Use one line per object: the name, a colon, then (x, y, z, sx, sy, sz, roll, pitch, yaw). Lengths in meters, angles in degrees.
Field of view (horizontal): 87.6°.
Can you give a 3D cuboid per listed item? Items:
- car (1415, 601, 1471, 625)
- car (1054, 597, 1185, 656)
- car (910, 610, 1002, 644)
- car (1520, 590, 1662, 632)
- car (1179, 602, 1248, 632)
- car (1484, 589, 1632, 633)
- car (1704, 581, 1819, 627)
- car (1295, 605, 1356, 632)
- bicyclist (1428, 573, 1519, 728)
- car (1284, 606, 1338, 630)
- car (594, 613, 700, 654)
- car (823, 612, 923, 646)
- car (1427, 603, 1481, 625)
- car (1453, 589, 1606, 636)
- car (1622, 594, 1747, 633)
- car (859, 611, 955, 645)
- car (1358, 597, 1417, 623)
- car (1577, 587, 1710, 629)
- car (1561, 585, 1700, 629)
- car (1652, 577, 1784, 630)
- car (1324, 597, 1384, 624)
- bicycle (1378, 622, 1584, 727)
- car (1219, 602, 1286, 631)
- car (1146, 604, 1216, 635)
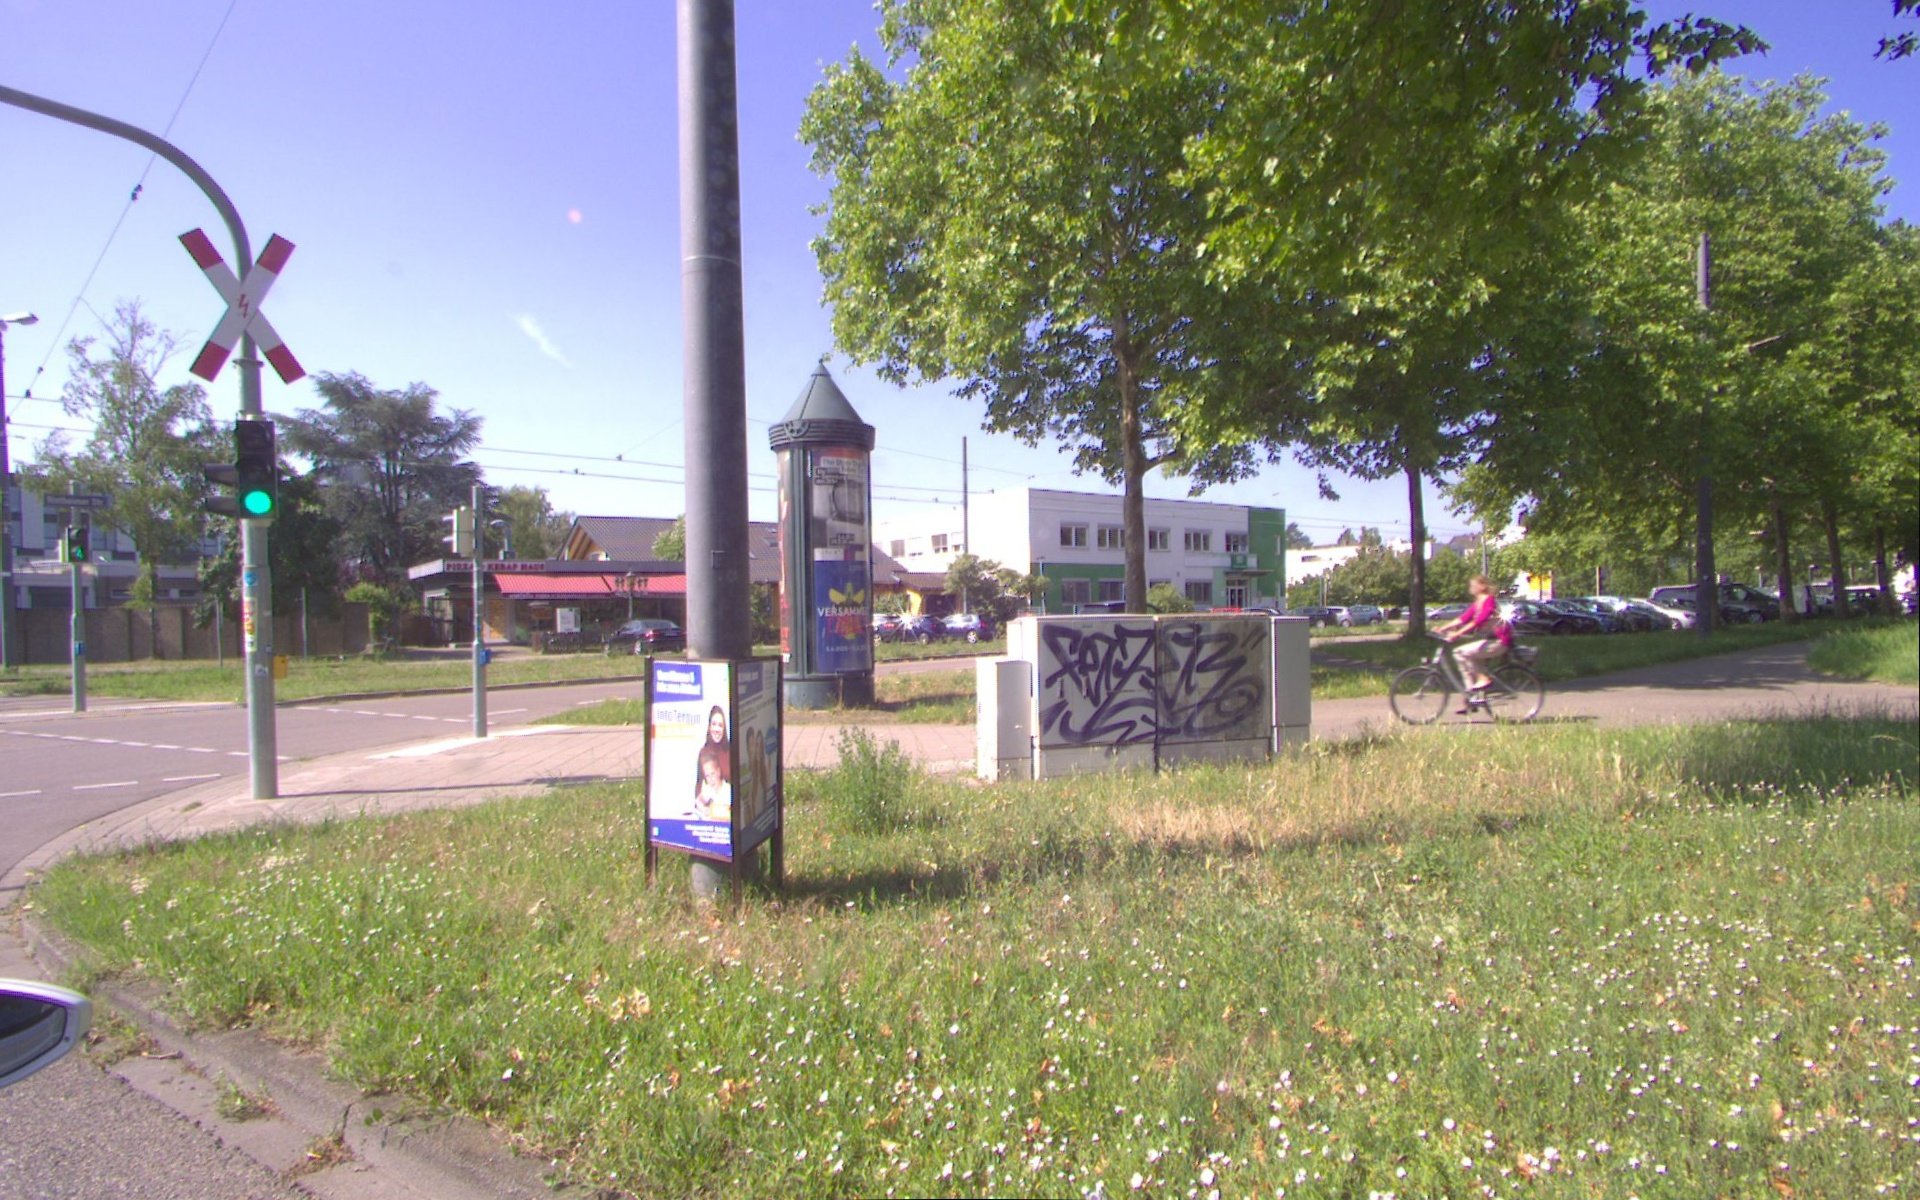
car: (38.900, 1.049, 80.772, 3.934, 1.816, 1.995, -1, -2, 24)
car: (4.851, 0.798, 30.232, 3.956, 1.676, 1.779, 1, -1, -40)
car: (-0.179, 1.348, 50.576, 4.139, 1.640, 2.136, -1, -1, 26)
car: (24.046, 0.450, 38.257, 4.309, 1.510, 1.982, -1, 0, 44)
car: (16.002, 1.090, 63.206, 3.934, 1.816, 1.995, -1, -2, 24)
car: (21.790, 0.422, 36.585, 4.309, 1.510, 1.982, -1, 0, 44)
car: (41.677, 0.237, 52.122, 4.542, 2.238, 1.982, -1, 0, 44)
car: (25.763, 1.323, 70.566, 3.933, 1.816, 1.995, -1, -2, 23)
bicyclist: (6.206, 0.601, 12.128, 0.795, 1.810, 0.702, -1, 0, 11)
car: (23.773, 1.221, 67.903, 3.383, 1.556, 1.565, -1, 0, 18)
car: (-12.762, 1.395, 40.665, 2.121, 1.518, 5.073, -1, -2, -43)
car: (-4.039, 1.351, 46.710, 4.139, 1.518, 2.136, -2, -1, 26)
car: (40.972, 1.181, 83.144, 3.934, 1.816, 1.995, -1, -2, 24)
car: (19.824, 0.458, 34.962, 4.310, 1.510, 1.982, -2, -1, 44)
car: (32.182, 0.608, 44.546, 4.309, 1.654, 1.982, -1, 0, 44)
car: (-2.567, 1.365, 48.619, 4.139, 1.518, 2.136, -2, -1, 26)
car: (31.635, 0.779, 74.157, 3.934, 1.816, 1.995, -1, -2, 24)
car: (28.140, 0.350, 41.303, 4.309, 1.654, 1.982, -1, 0, 44)
car: (26.446, 0.313, 39.598, 4.309, 1.654, 1.982, -1, -2, 44)
car: (35.046, 0.205, 46.379, 1.978, 2.320, 4.550, -1, 0, -41)
car: (28.347, 0.788, 71.999, 3.934, 1.816, 1.995, -1, -2, 24)
bicycle: (6.247, 0.889, 12.114, 2.085, 1.201, 0.693, -1, 0, 12)
car: (18.883, 1.079, 64.602, 3.934, 1.816, 1.995, -1, -2, 24)
car: (13.568, 1.219, 61.487, 3.934, 1.816, 1.995, -1, -2, 24)
